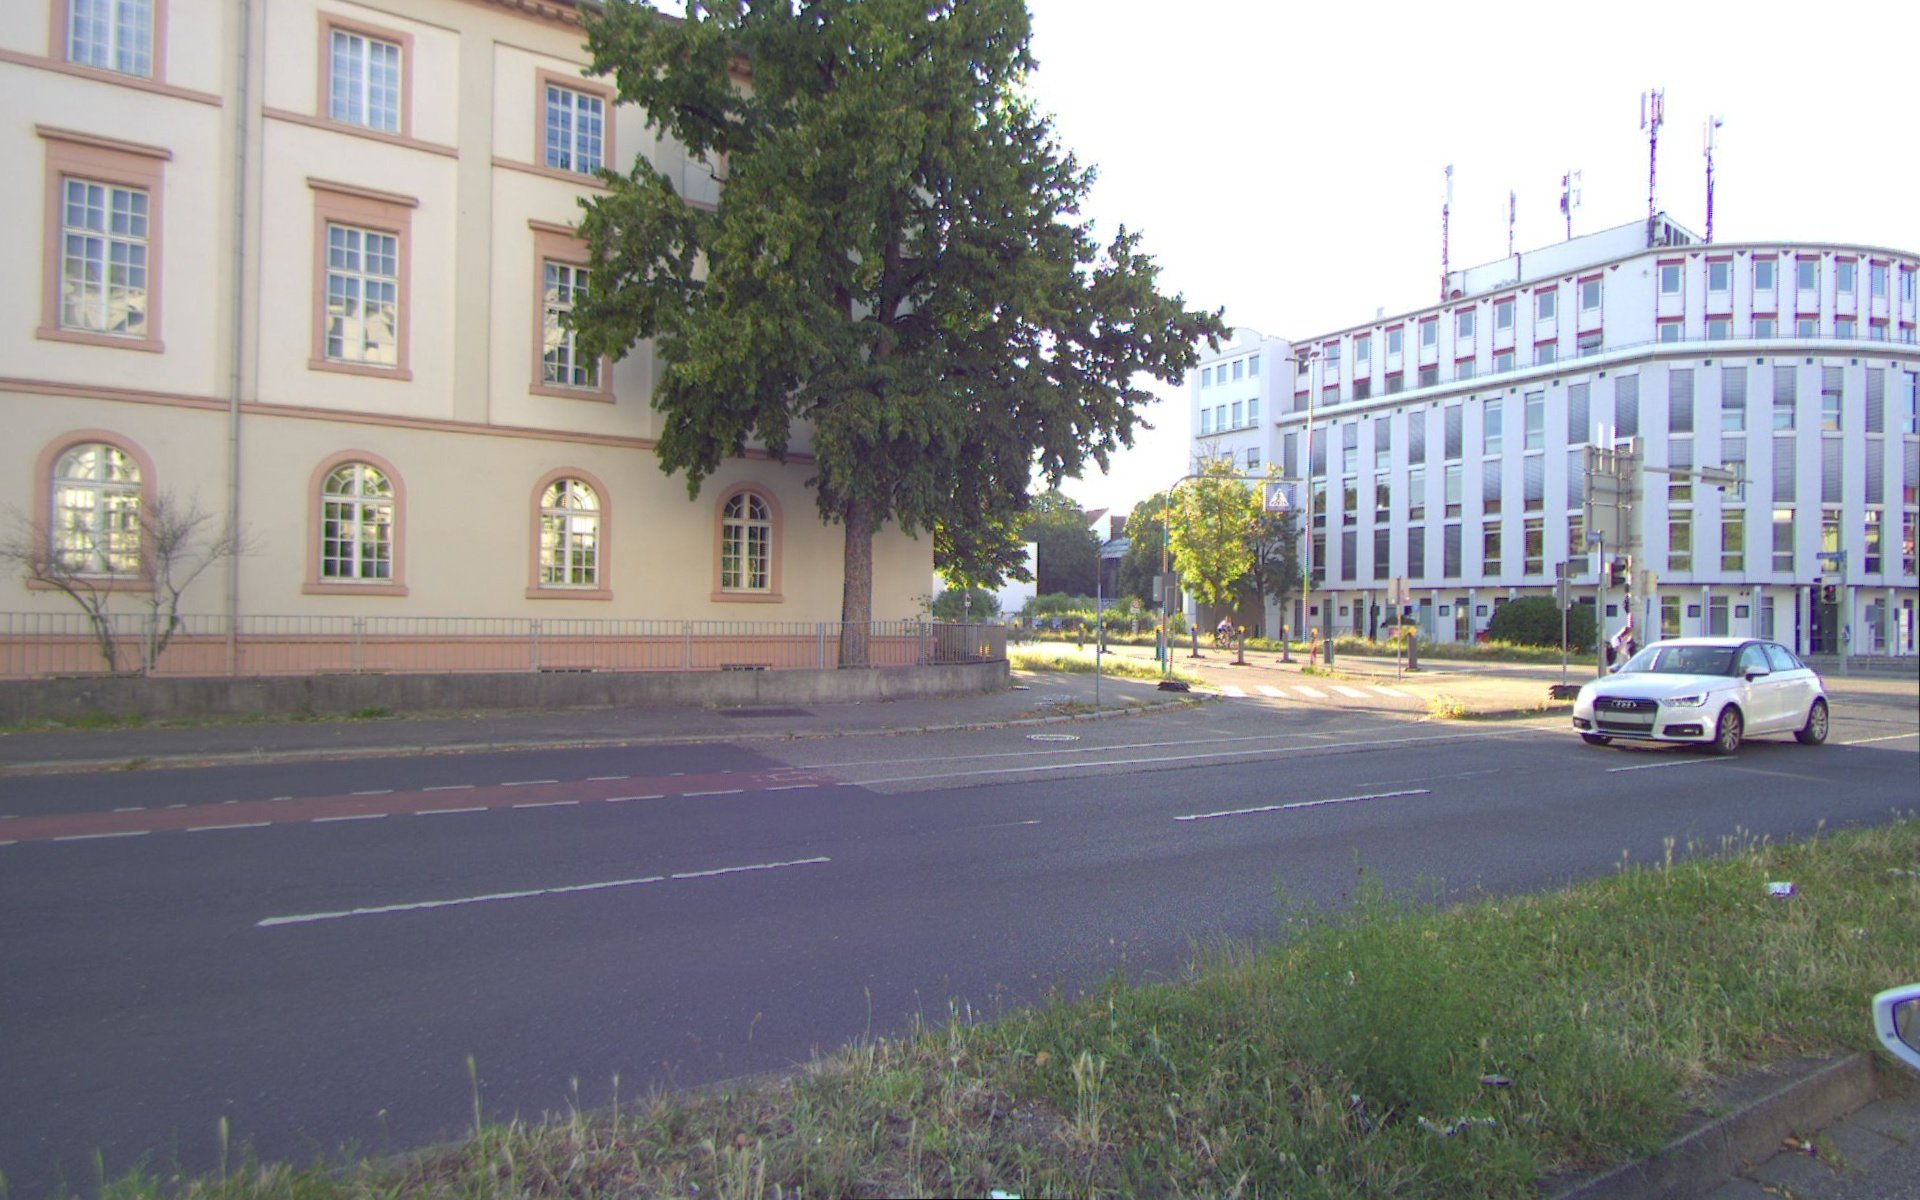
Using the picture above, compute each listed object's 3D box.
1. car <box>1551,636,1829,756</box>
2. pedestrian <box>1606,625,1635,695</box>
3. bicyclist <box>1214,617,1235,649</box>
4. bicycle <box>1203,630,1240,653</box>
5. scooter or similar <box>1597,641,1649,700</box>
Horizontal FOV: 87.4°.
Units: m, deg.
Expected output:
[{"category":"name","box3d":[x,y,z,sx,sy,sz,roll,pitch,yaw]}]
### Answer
[{"category":"car","box3d":[9.827,1.197,13.489,3.642,1.406,1.684,1,-2,-30]},{"category":"pedestrian","box3d":[14.698,1.320,22.353,0.332,1.525,0.470,1,-1,-41]},{"category":"bicyclist","box3d":[12.687,1.598,48.264,0.453,1.516,0.879,1,-1,-36]},{"category":"bicycle","box3d":[12.586,2.009,48.381,0.498,1.056,1.786,1,-1,-35]},{"category":"scooter or similar","box3d":[14.680,1.541,22.246,0.368,1.250,0.885,1,-1,-40]}]
